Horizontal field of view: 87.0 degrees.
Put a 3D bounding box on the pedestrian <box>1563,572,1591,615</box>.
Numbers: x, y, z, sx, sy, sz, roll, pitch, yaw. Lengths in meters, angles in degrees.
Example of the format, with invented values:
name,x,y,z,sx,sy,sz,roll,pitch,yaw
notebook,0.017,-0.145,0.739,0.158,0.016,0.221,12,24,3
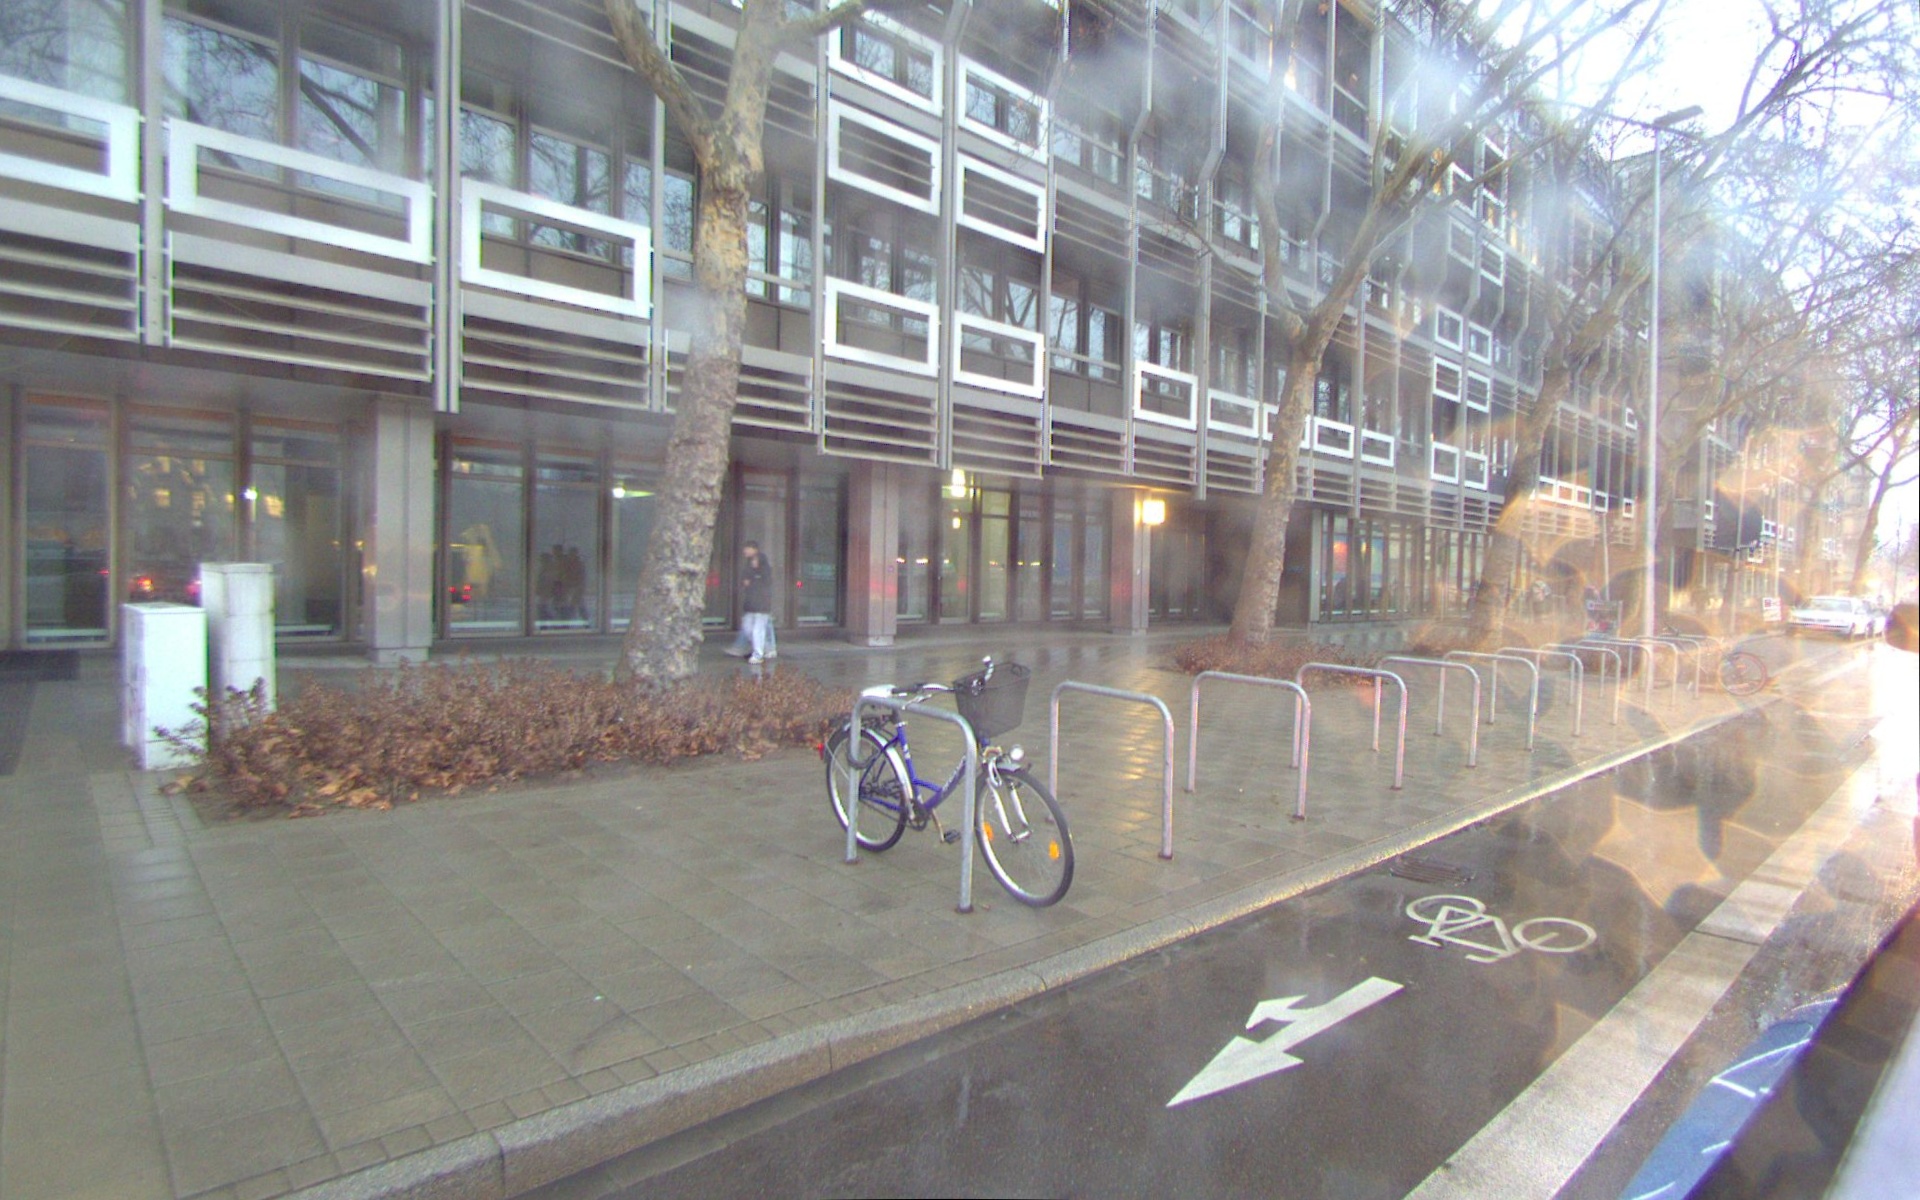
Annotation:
name,x,y,z,sx,sy,sz,roll,pitch,yaw
pedestrian,24.703,-0.268,40.503,0.826,1.675,0.642,0,1,-33

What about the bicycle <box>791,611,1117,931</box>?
name,x,y,z,sx,sy,sz,roll,pitch,yaw
bicycle,-0.110,0.697,4.843,0.428,1.162,1.752,0,4,-44

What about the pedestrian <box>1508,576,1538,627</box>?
name,x,y,z,sx,sy,sz,roll,pitch,yaw
pedestrian,18.882,0.033,33.916,0.767,1.677,0.617,0,1,-41

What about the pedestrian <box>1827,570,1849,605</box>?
name,x,y,z,sx,sy,sz,roll,pitch,yaw
pedestrian,51.345,-0.743,59.204,1.007,2.039,0.790,0,1,-41

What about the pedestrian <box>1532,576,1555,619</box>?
name,x,y,z,sx,sy,sz,roll,pitch,yaw
pedestrian,19.310,-0.090,33.468,0.493,1.386,0.493,0,1,-40

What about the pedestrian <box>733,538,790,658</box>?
name,x,y,z,sx,sy,sz,roll,pitch,yaw
pedestrian,-2.864,-0.040,14.644,0.701,1.689,0.379,0,1,-41

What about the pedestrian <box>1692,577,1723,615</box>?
name,x,y,z,sx,sy,sz,roll,pitch,yaw
pedestrian,30.731,-0.176,41.607,0.824,1.543,0.865,0,2,-44

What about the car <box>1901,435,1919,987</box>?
name,x,y,z,sx,sy,sz,roll,pitch,yaw
car,5.610,0.427,4.338,3.930,2.038,1.858,0,2,-41

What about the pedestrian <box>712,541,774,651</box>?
name,x,y,z,sx,sy,sz,roll,pitch,yaw
pedestrian,-3.208,-0.065,14.957,0.733,1.583,0.484,0,1,-42

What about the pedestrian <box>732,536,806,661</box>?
name,x,y,z,sx,sy,sz,roll,pitch,yaw
pedestrian,-2.666,-0.035,14.130,0.858,1.689,0.501,0,2,-41

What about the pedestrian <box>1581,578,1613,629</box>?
name,x,y,z,sx,sy,sz,roll,pitch,yaw
pedestrian,19.869,0.105,31.554,0.604,1.563,0.649,0,1,-40

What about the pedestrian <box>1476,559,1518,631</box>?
name,x,y,z,sx,sy,sz,roll,pitch,yaw
pedestrian,15.551,-0.153,29.308,0.723,2.039,0.821,0,1,-43

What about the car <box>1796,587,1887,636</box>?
name,x,y,z,sx,sy,sz,roll,pitch,yaw
car,29.430,0.330,33.756,3.859,1.449,1.609,0,4,-39

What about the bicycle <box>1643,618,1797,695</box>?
name,x,y,z,sx,sy,sz,roll,pitch,yaw
bicycle,11.656,0.842,15.571,0.607,0.986,1.789,0,3,-45

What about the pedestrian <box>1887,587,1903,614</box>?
name,x,y,z,sx,sy,sz,roll,pitch,yaw
pedestrian,72.104,0.039,78.011,0.758,2.039,0.837,-1,0,-42

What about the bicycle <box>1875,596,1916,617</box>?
name,x,y,z,sx,sy,sz,roll,pitch,yaw
bicycle,47.008,0.328,50.874,1.518,1.049,0.462,0,1,42
